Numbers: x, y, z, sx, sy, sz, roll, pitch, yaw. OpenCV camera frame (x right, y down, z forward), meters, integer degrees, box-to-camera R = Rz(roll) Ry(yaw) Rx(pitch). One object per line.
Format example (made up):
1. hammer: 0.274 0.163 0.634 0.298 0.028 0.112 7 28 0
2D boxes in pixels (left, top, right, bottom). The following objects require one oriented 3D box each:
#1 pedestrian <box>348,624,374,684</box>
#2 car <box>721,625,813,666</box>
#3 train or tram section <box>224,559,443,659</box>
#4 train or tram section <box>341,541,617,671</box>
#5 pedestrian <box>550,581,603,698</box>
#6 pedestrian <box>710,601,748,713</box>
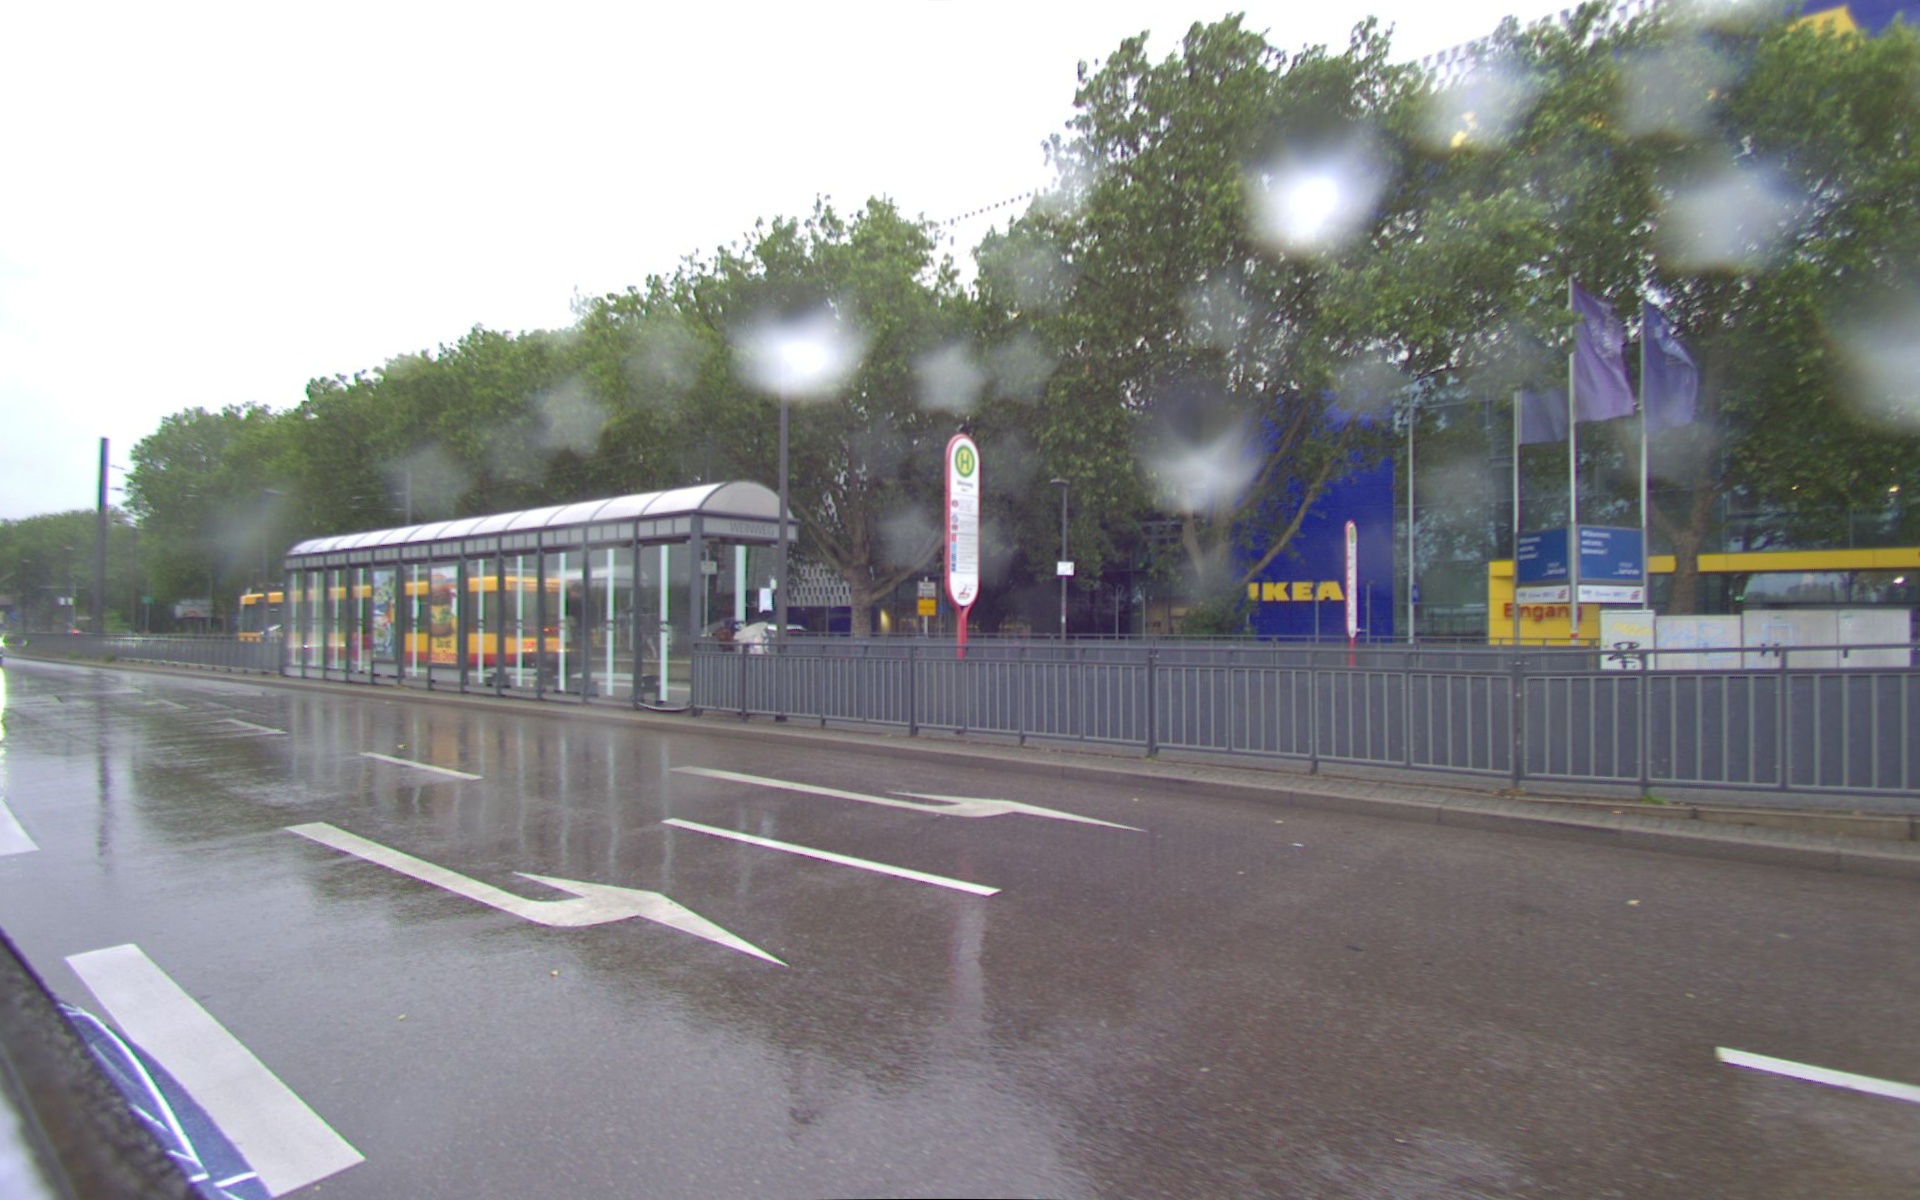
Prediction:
1. pedestrian: -12.663 1.135 21.400 0.451 1.245 0.468 0 0 -35
2. car: -7.547 1.730 39.441 3.421 1.475 1.567 -1 0 35
3. train or tram section: -28.337 0.404 45.163 15.561 3.827 3.703 -1 0 40
4. train or tram section: -17.393 0.216 35.801 13.246 3.868 3.703 -1 0 40
5. pedestrian: -6.348 0.635 16.748 0.646 1.885 0.774 -1 0 -33
6. pedestrian: -3.190 0.776 13.956 0.317 1.504 0.416 -2 1 -44
